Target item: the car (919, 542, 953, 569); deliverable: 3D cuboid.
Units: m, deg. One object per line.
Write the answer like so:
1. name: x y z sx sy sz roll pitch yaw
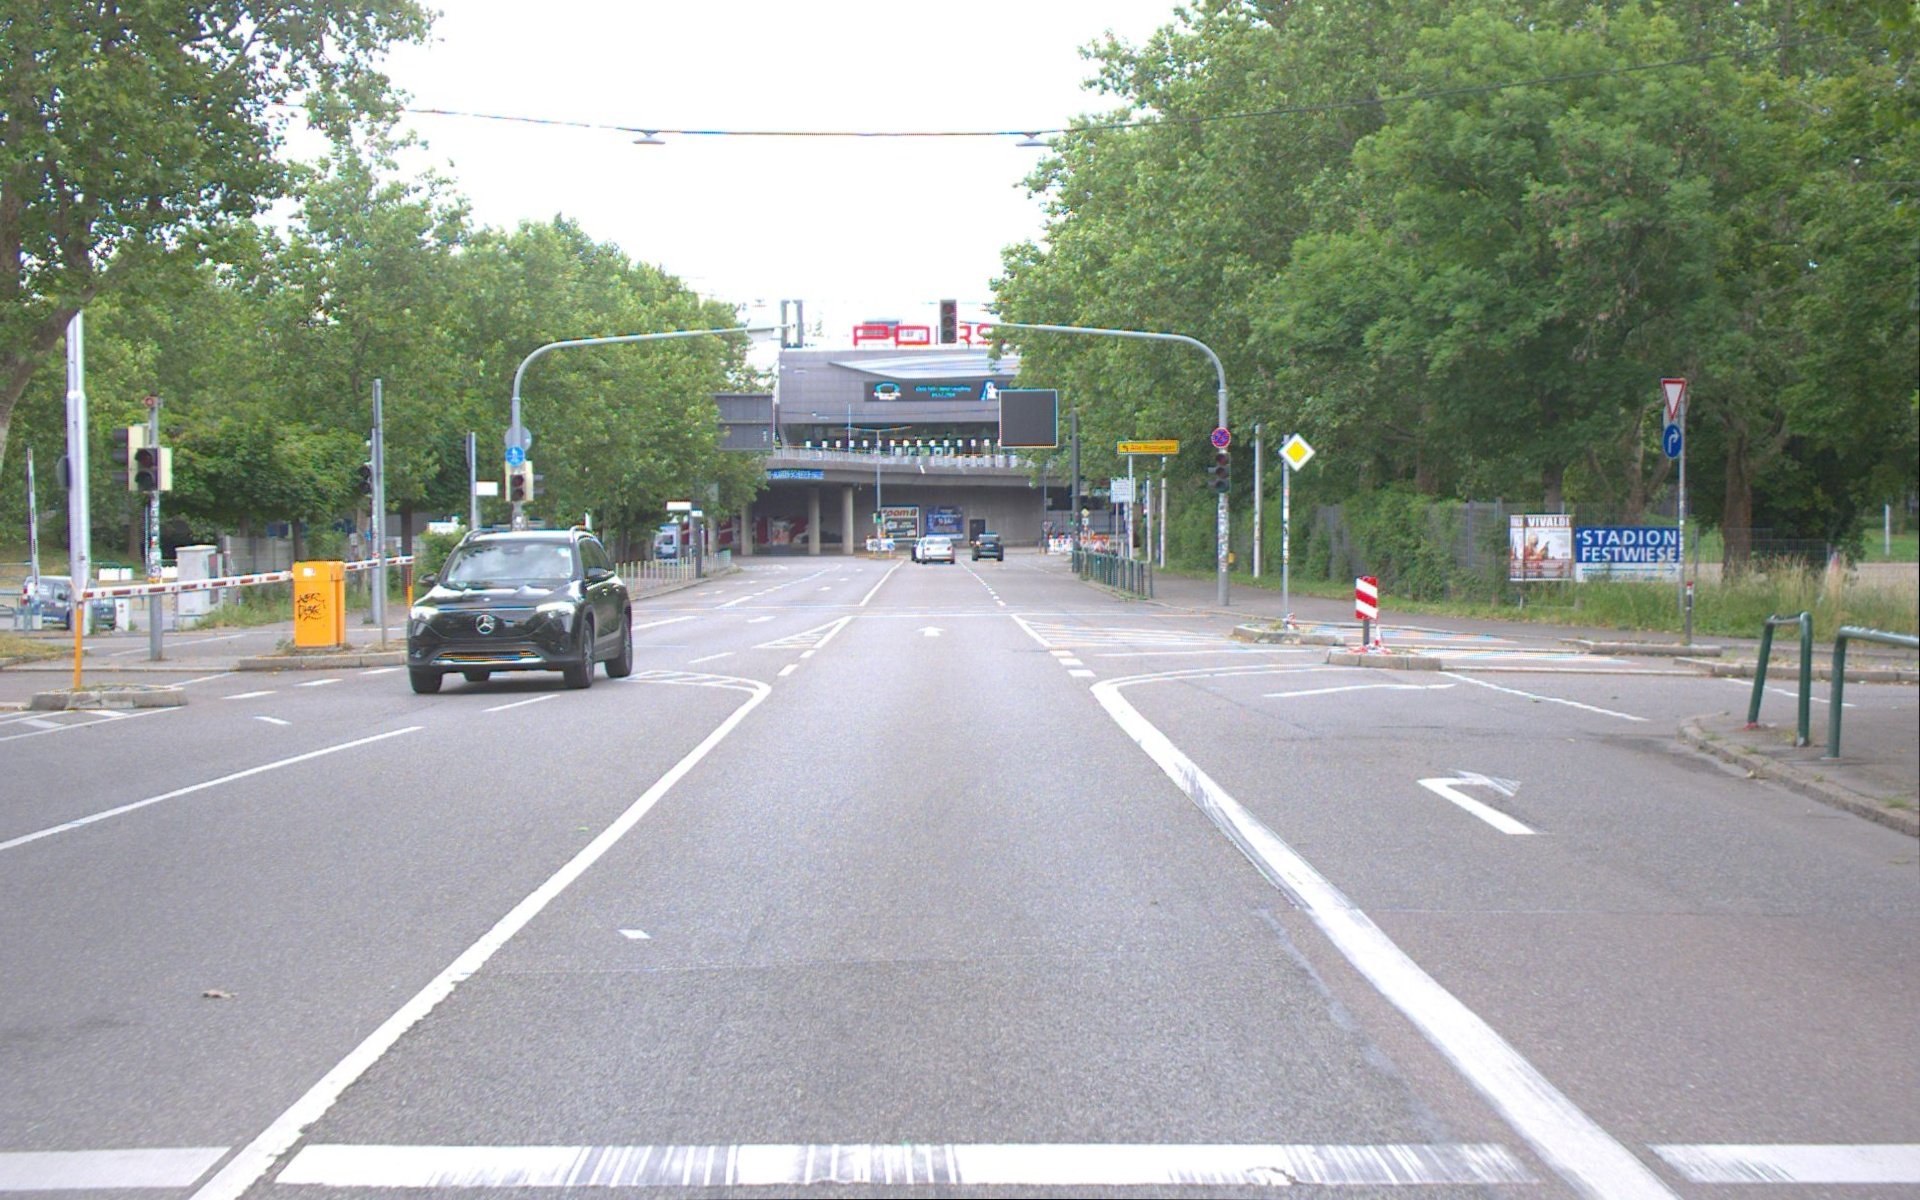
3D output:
1. car: -1.306 -2.492 191.383 1.778 1.455 3.822 1 1 1

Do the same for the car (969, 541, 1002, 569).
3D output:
1. car: 1.598 -2.817 215.258 2.007 1.693 4.069 0 1 1

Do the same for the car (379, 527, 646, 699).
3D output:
1. car: -4.657 0.095 36.420 1.994 1.654 4.517 -2 1 3
